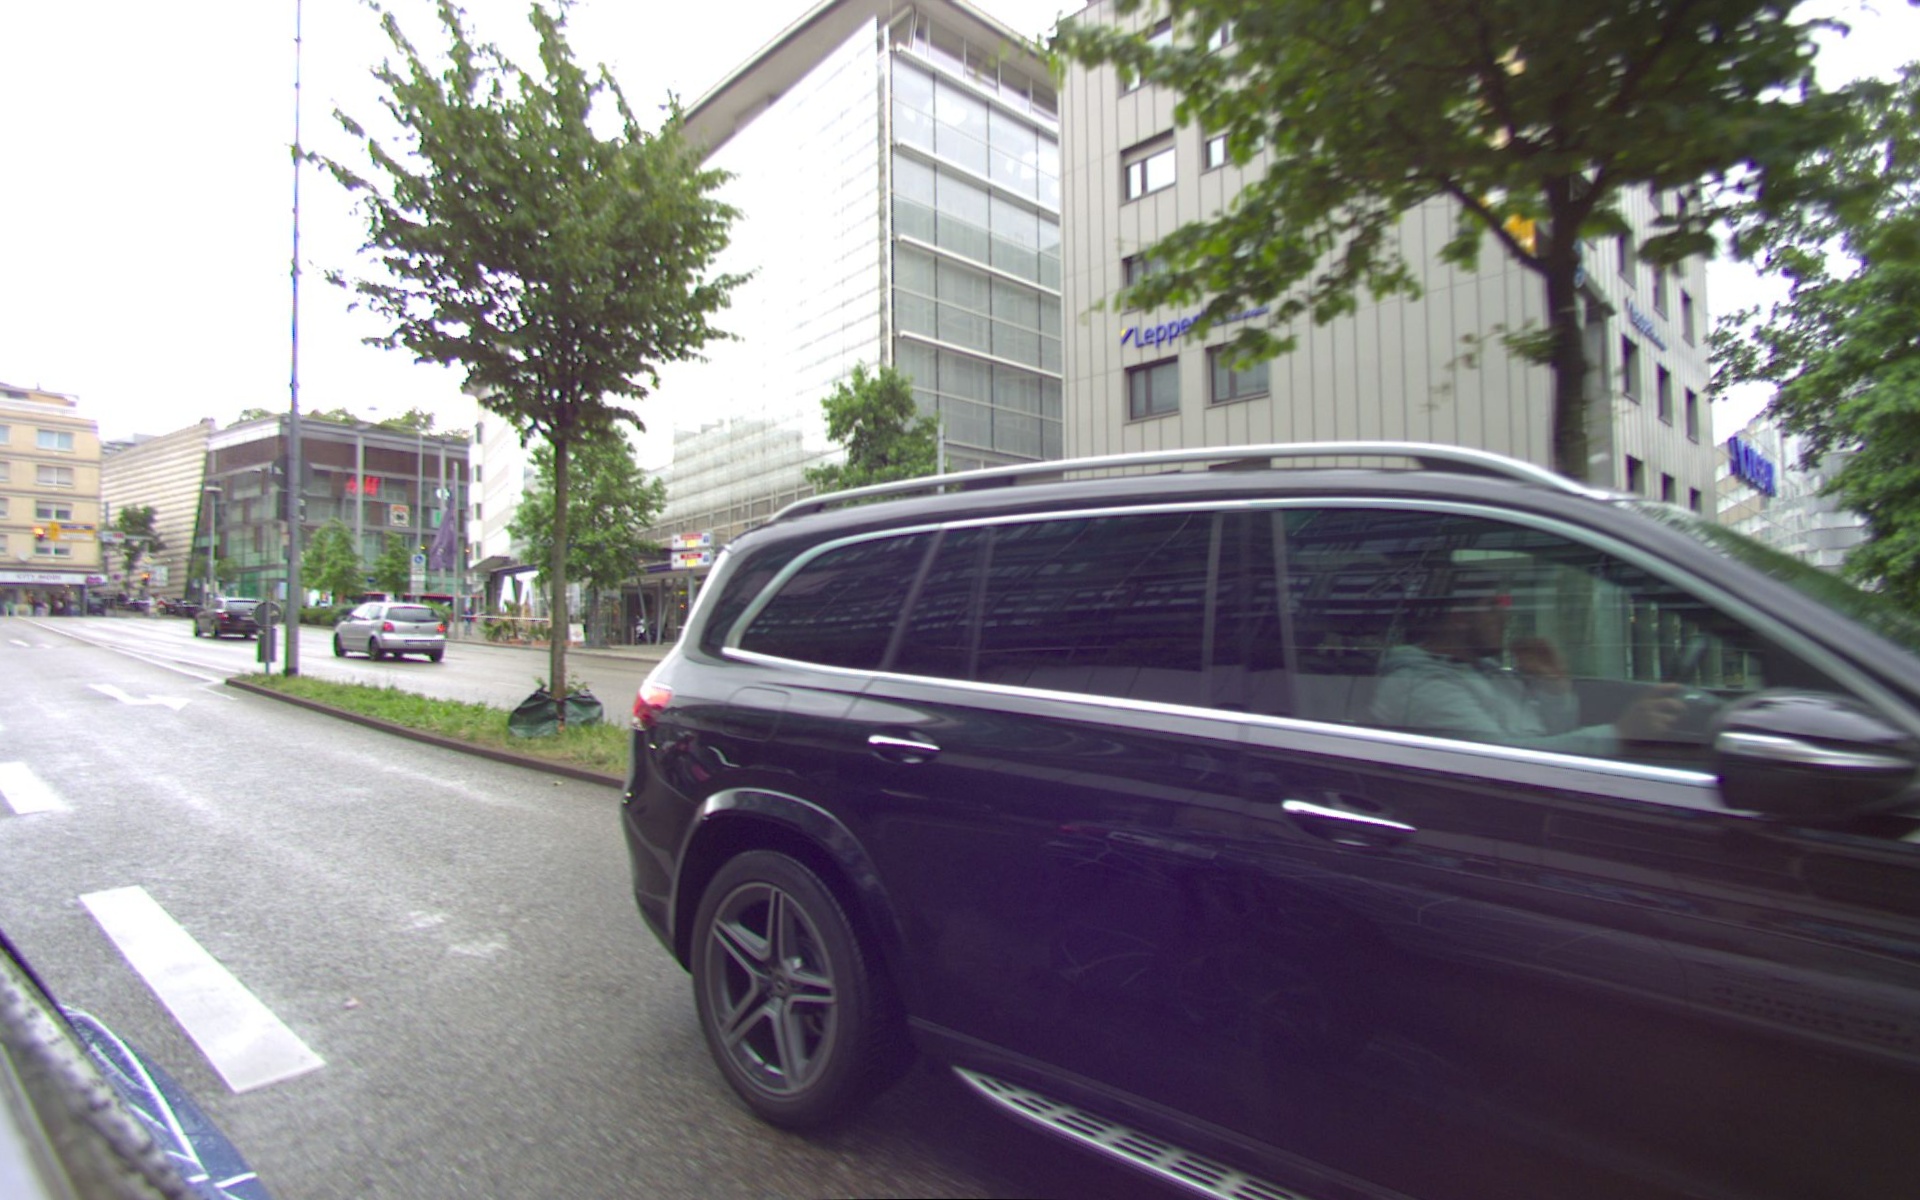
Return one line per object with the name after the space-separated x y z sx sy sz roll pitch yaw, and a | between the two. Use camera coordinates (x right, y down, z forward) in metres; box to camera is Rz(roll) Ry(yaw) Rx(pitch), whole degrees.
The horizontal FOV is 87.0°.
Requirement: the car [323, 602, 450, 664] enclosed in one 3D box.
-14.718 0.814 25.910 3.644 1.448 1.608 1 -2 40 | car

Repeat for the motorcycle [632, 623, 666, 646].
-15.142 1.696 49.292 1.549 1.080 0.418 3 -2 -40 | motorcycle

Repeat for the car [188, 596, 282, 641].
-26.128 0.651 36.426 4.185 1.520 1.972 0 -1 43 | car

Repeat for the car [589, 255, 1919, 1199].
1.270 0.446 2.526 4.882 1.791 1.973 0 1 40 | car

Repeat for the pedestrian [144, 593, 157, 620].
-56.427 0.473 70.542 0.588 1.855 0.598 0 1 40 | pedestrian

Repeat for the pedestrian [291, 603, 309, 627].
-53.189 1.178 81.580 0.735 1.913 0.978 0 1 23 | pedestrian

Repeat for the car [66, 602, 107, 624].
-83.442 1.187 96.621 3.989 2.029 1.977 0 1 34 | car
